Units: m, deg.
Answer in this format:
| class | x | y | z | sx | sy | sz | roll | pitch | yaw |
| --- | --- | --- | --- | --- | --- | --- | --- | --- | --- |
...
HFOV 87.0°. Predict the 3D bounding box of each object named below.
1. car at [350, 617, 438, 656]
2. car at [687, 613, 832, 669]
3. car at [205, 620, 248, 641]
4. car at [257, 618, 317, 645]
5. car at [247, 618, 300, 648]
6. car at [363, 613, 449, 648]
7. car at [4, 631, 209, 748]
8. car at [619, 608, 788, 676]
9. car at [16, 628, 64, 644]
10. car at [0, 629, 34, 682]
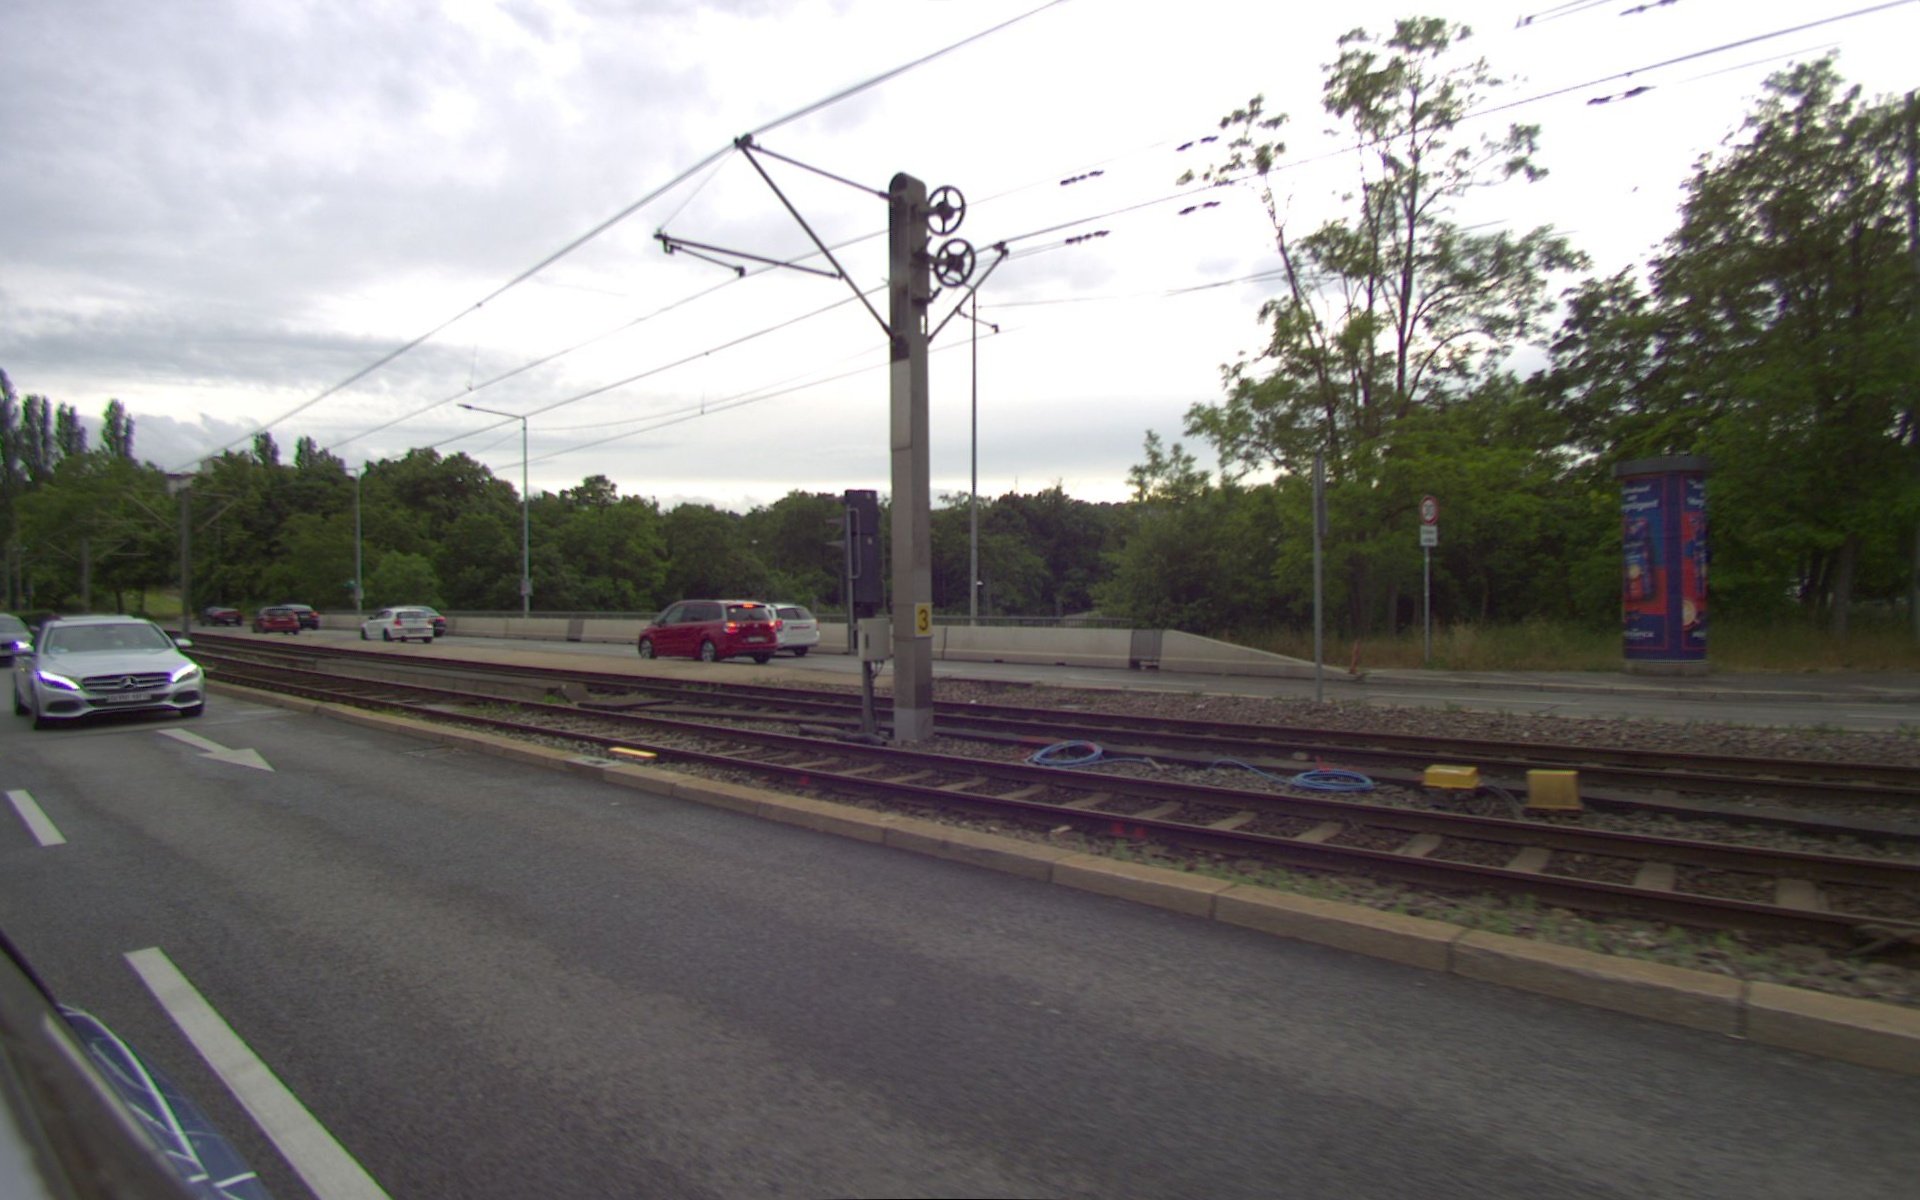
| class | x | y | z | sx | sy | sz | roll | pitch | yaw |
| --- | --- | --- | --- | --- | --- | --- | --- | --- | --- |
| car | -23.336 | 1.470 | 41.676 | 4.488 | 1.448 | 1.712 | 0 | -1 | 40 |
| car | -5.982 | 1.150 | 29.922 | 4.527 | 1.526 | 1.802 | -1 | 0 | 41 |
| car | -55.723 | 2.313 | 76.877 | 4.741 | 1.447 | 1.796 | -2 | 0 | 44 |
| car | -41.935 | 1.939 | 63.032 | 4.728 | 1.609 | 1.877 | -2 | -2 | 40 |
| car | -36.951 | 1.750 | 54.459 | 3.015 | 1.504 | 1.584 | 1 | 0 | 40 |
| car | -27.076 | 1.502 | 49.414 | 5.180 | 1.609 | 1.949 | -2 | -2 | 40 |
| car | -12.284 | 1.159 | 14.471 | 4.061 | 1.366 | 1.846 | -1 | -1 | 44 |
| car | -6.713 | 1.059 | 26.237 | 4.728 | 1.609 | 1.829 | -2 | -2 | 40 |
| car | -90.199 | 3.532 | 99.213 | 4.592 | 1.324 | 1.827 | -3 | 1 | 25 |
| car | -27.373 | 1.537 | 28.436 | 4.001 | 1.362 | 1.712 | -1 | 0 | 44 |
